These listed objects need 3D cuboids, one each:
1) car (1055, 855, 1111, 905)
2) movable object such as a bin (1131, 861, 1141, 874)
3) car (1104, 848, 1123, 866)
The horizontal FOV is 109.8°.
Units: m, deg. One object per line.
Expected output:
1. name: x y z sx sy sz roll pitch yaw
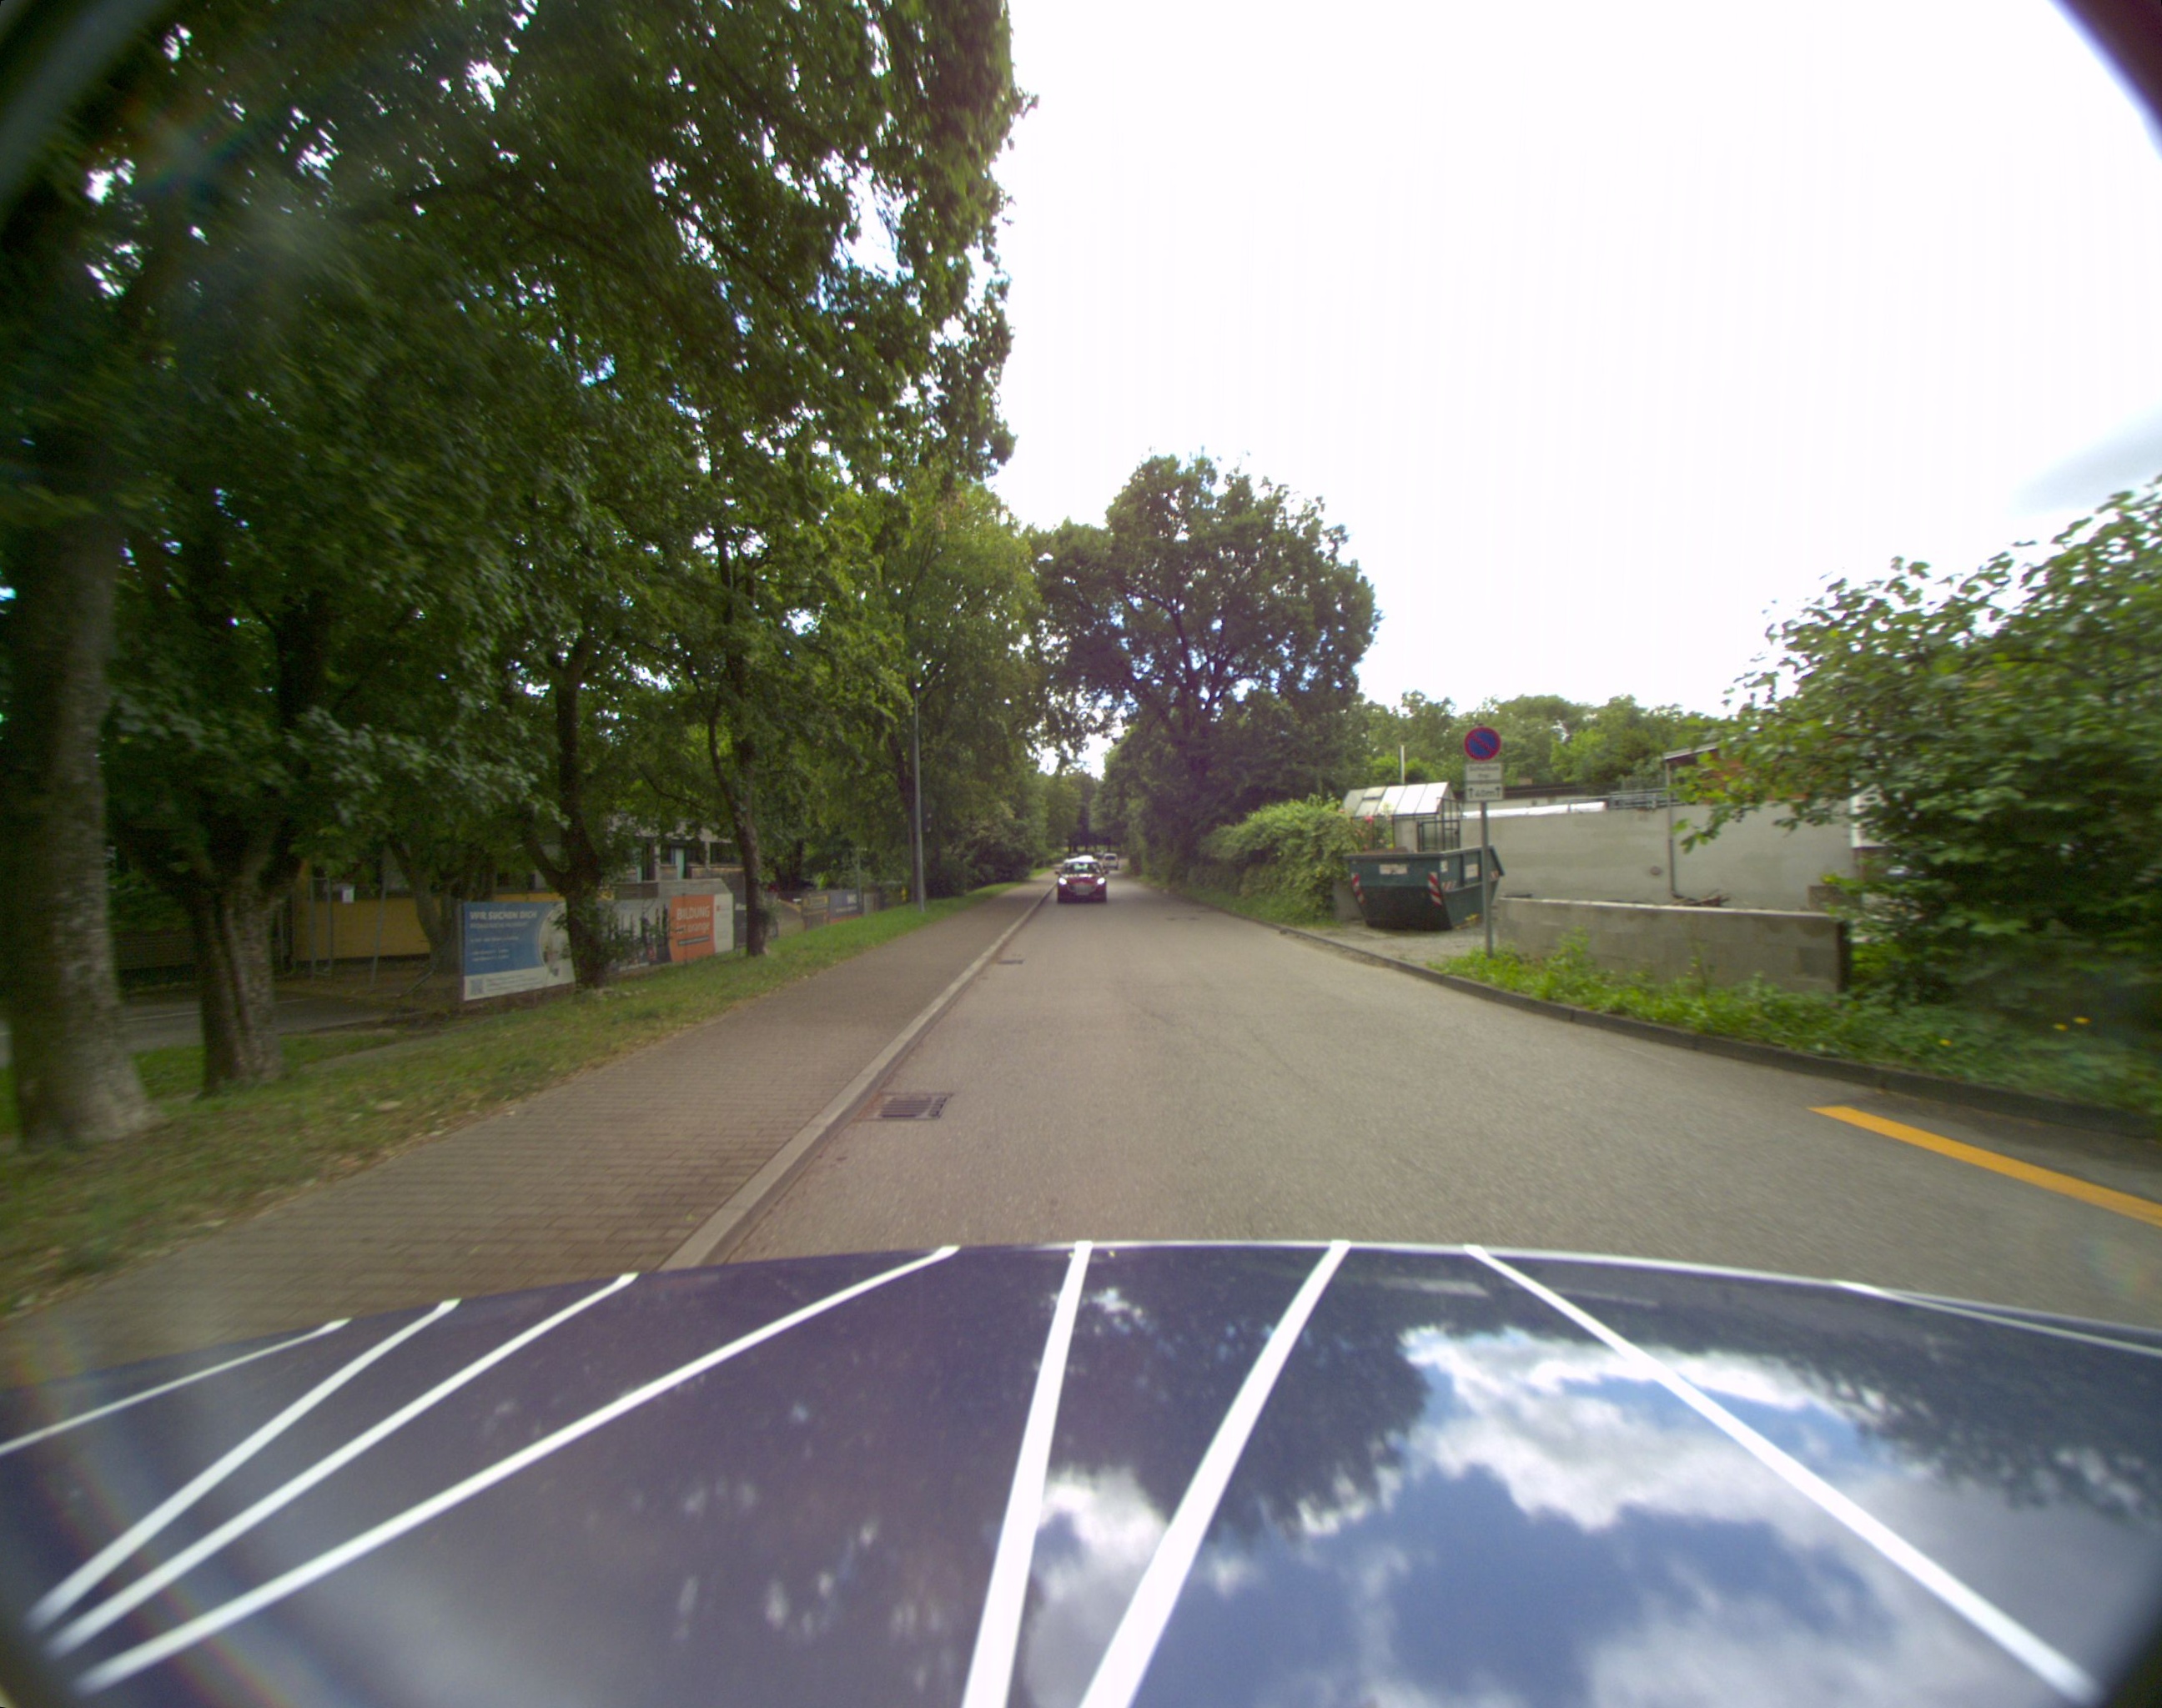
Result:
1. car: 0.155 0.952 29.854 1.816 1.717 4.001 1 1 5
2. movable object such as a bin: 4.403 1.039 60.543 0.649 1.007 0.632 0 2 16
3. car: 3.706 0.318 86.601 1.878 1.902 4.430 0 1 -1
